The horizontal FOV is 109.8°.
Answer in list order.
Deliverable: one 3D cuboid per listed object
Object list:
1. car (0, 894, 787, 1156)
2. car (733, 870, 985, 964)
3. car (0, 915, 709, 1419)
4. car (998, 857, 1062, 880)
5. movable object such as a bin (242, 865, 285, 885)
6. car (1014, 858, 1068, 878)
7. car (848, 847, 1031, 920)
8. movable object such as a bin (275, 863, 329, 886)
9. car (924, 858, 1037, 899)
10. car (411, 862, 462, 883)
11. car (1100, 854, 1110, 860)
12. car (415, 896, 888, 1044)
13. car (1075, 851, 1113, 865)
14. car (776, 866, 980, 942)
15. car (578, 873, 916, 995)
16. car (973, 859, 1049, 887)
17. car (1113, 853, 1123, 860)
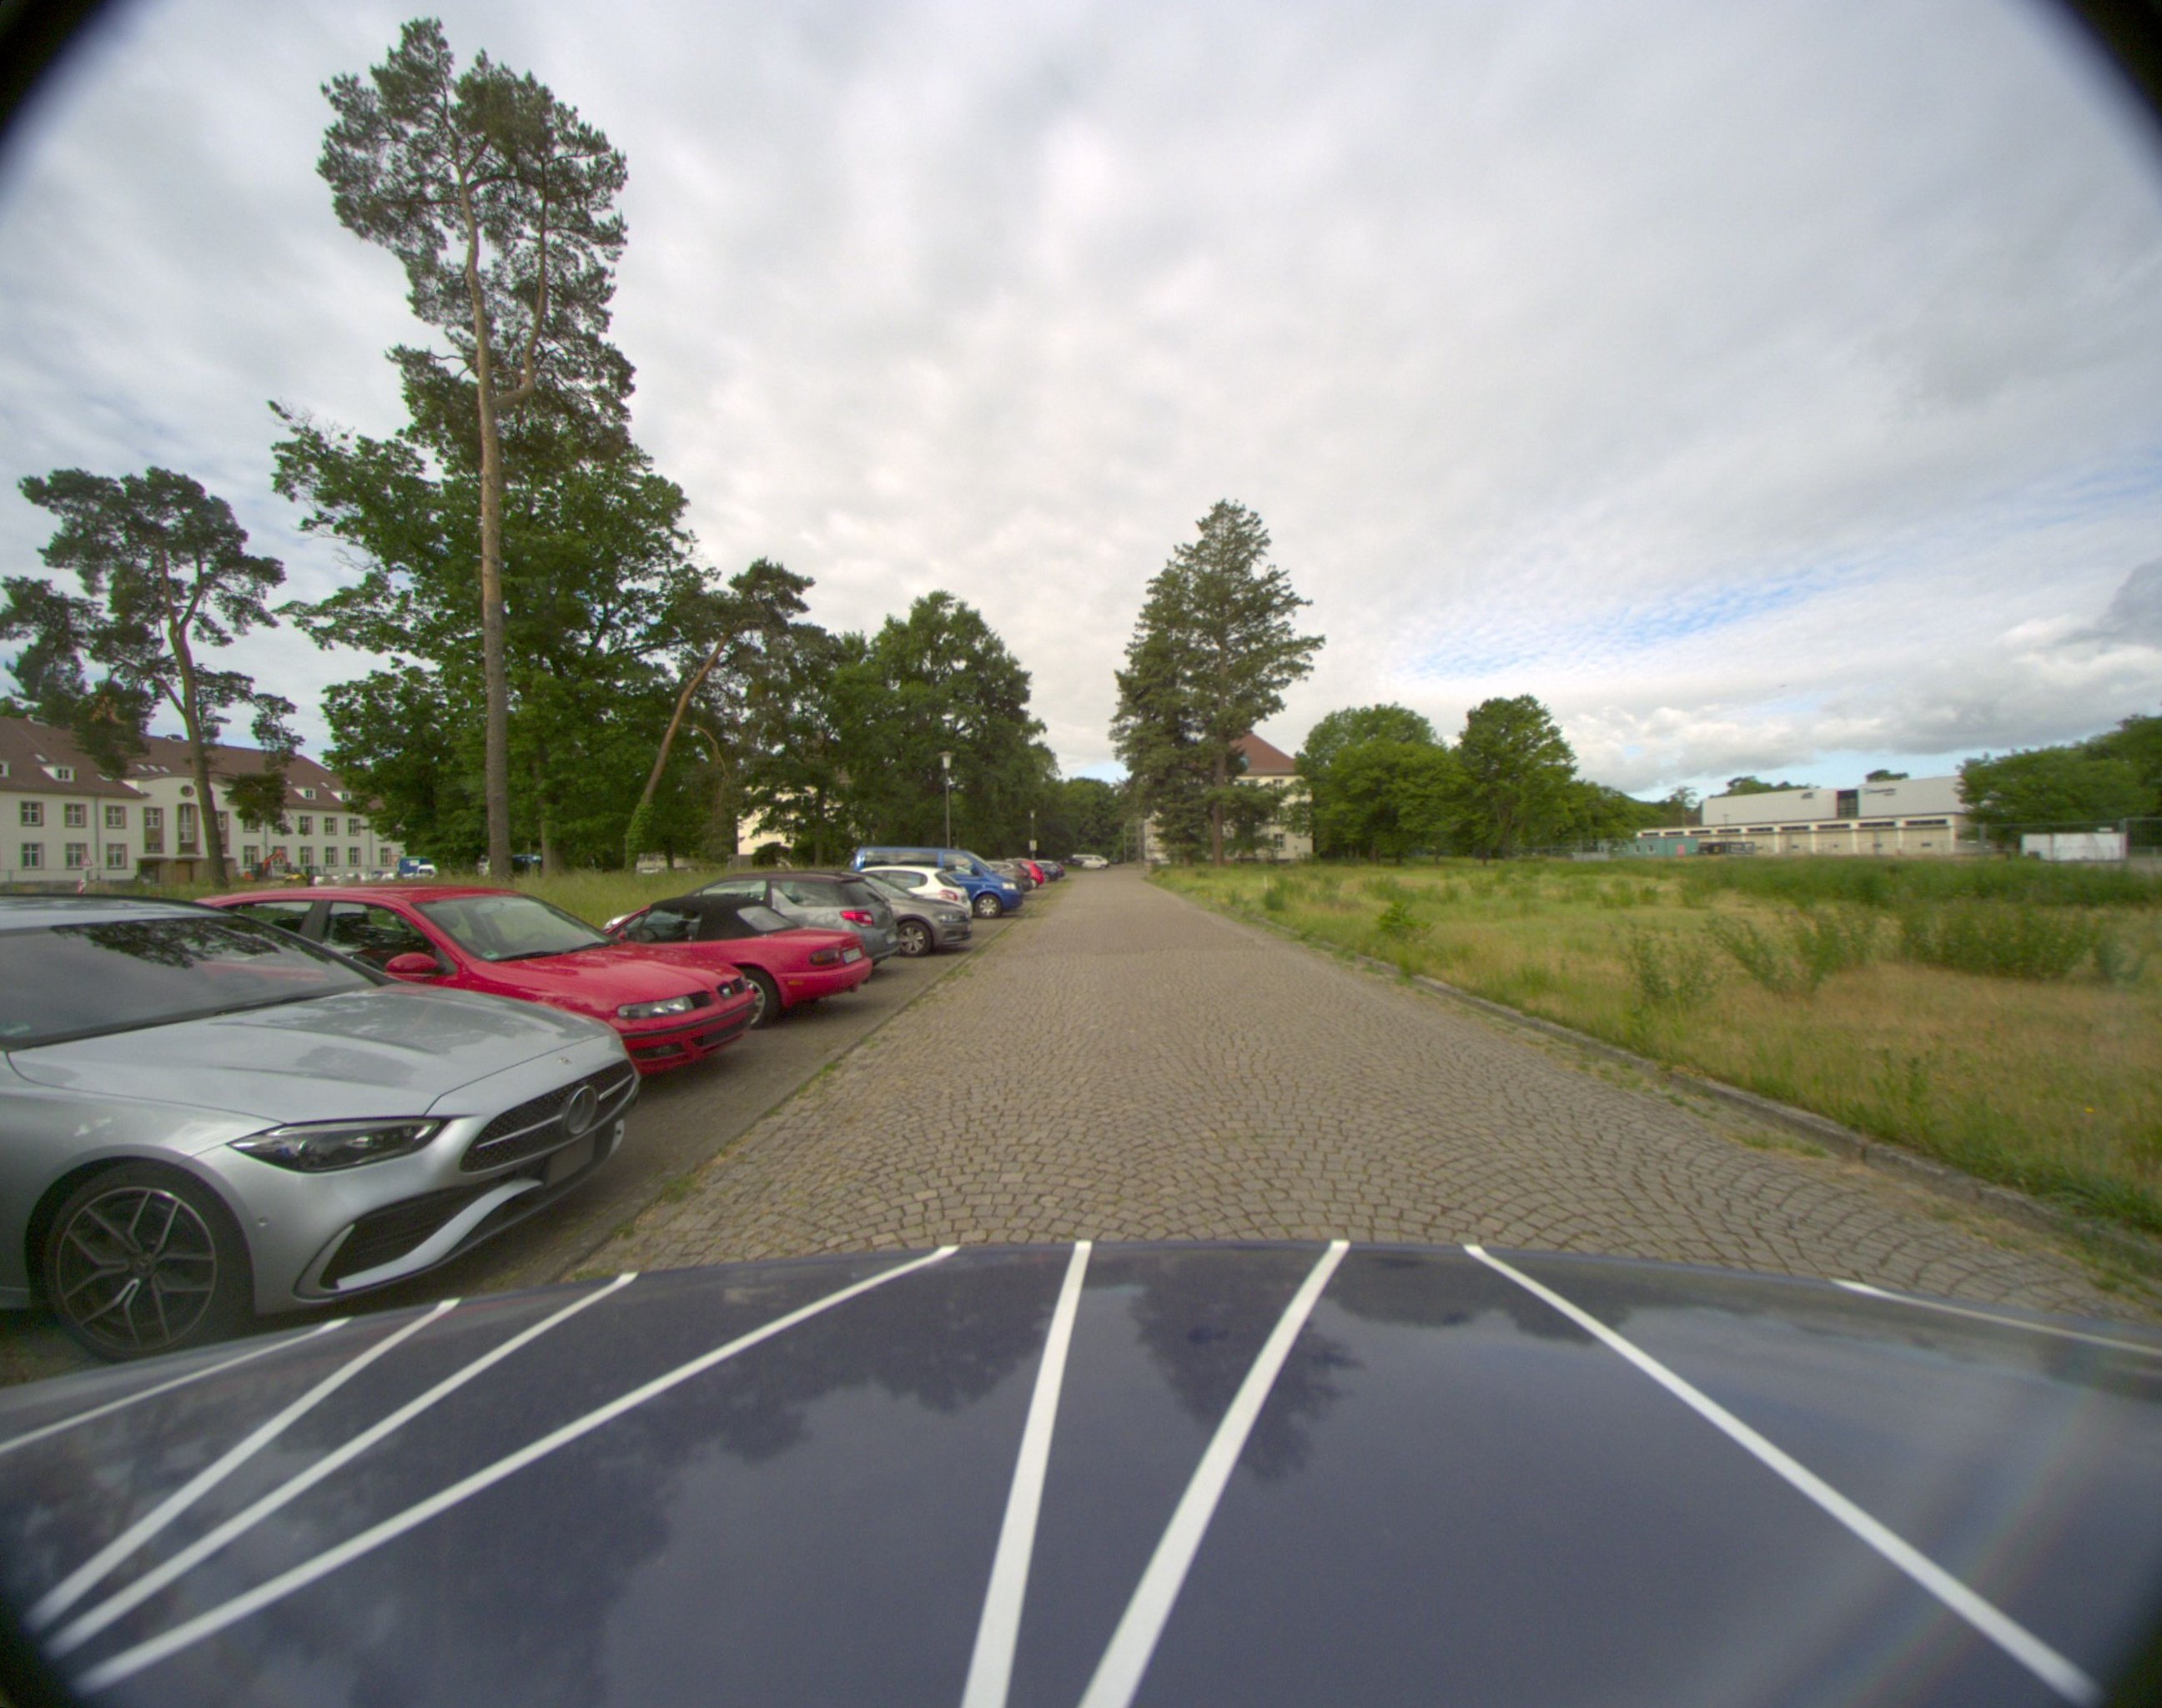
[{"bbox_3d":[-4.630,1.068,5.471,4.272,1.408,1.871,1,0,1],"label":"car"},{"bbox_3d":[-3.760,1.045,13.330,3.872,1.463,1.758,1,0,1],"label":"car"},{"bbox_3d":[-4.294,1.057,3.282,4.434,1.408,1.870,1,0,-2],"label":"car"},{"bbox_3d":[-3.374,0.959,51.008,4.150,1.529,1.582,0,0,0],"label":"car"},{"bbox_3d":[-88.311,2.240,82.123,2.982,2.002,1.555,-1,0,2],"label":"movable object such as a bin"},{"bbox_3d":[-2.924,1.026,55.660,3.877,1.417,1.582,0,0,0],"label":"car"},{"bbox_3d":[-3.907,0.807,21.653,4.820,1.934,2.003,1,0,0],"label":"car"},{"bbox_3d":[-74.740,1.950,72.944,1.679,2.002,3.245,-1,0,9],"label":"movable object such as a bin"},{"bbox_3d":[-3.971,0.954,30.494,4.271,1.589,1.822,0,0,0],"label":"car"},{"bbox_3d":[-66.545,1.916,78.538,1.999,2.002,3.999,-1,0,-3],"label":"car"},{"bbox_3d":[5.471,0.655,170.745,1.870,1.408,4.695,1,0,-3],"label":"car"},{"bbox_3d":[-4.167,1.115,7.851,3.872,1.229,1.758,1,0,0],"label":"car"},{"bbox_3d":[1.798,0.576,104.383,5.140,1.860,1.723,0,0,0],"label":"car"},{"bbox_3d":[-4.258,1.037,16.352,3.871,1.463,1.758,1,0,2],"label":"car"},{"bbox_3d":[-4.412,1.033,10.483,3.872,1.463,1.758,1,0,0],"label":"car"},{"bbox_3d":[-3.709,0.998,40.770,3.894,1.451,1.582,0,0,0],"label":"car"},{"bbox_3d":[8.367,0.559,171.233,1.870,1.408,4.695,1,0,-3],"label":"car"}]
